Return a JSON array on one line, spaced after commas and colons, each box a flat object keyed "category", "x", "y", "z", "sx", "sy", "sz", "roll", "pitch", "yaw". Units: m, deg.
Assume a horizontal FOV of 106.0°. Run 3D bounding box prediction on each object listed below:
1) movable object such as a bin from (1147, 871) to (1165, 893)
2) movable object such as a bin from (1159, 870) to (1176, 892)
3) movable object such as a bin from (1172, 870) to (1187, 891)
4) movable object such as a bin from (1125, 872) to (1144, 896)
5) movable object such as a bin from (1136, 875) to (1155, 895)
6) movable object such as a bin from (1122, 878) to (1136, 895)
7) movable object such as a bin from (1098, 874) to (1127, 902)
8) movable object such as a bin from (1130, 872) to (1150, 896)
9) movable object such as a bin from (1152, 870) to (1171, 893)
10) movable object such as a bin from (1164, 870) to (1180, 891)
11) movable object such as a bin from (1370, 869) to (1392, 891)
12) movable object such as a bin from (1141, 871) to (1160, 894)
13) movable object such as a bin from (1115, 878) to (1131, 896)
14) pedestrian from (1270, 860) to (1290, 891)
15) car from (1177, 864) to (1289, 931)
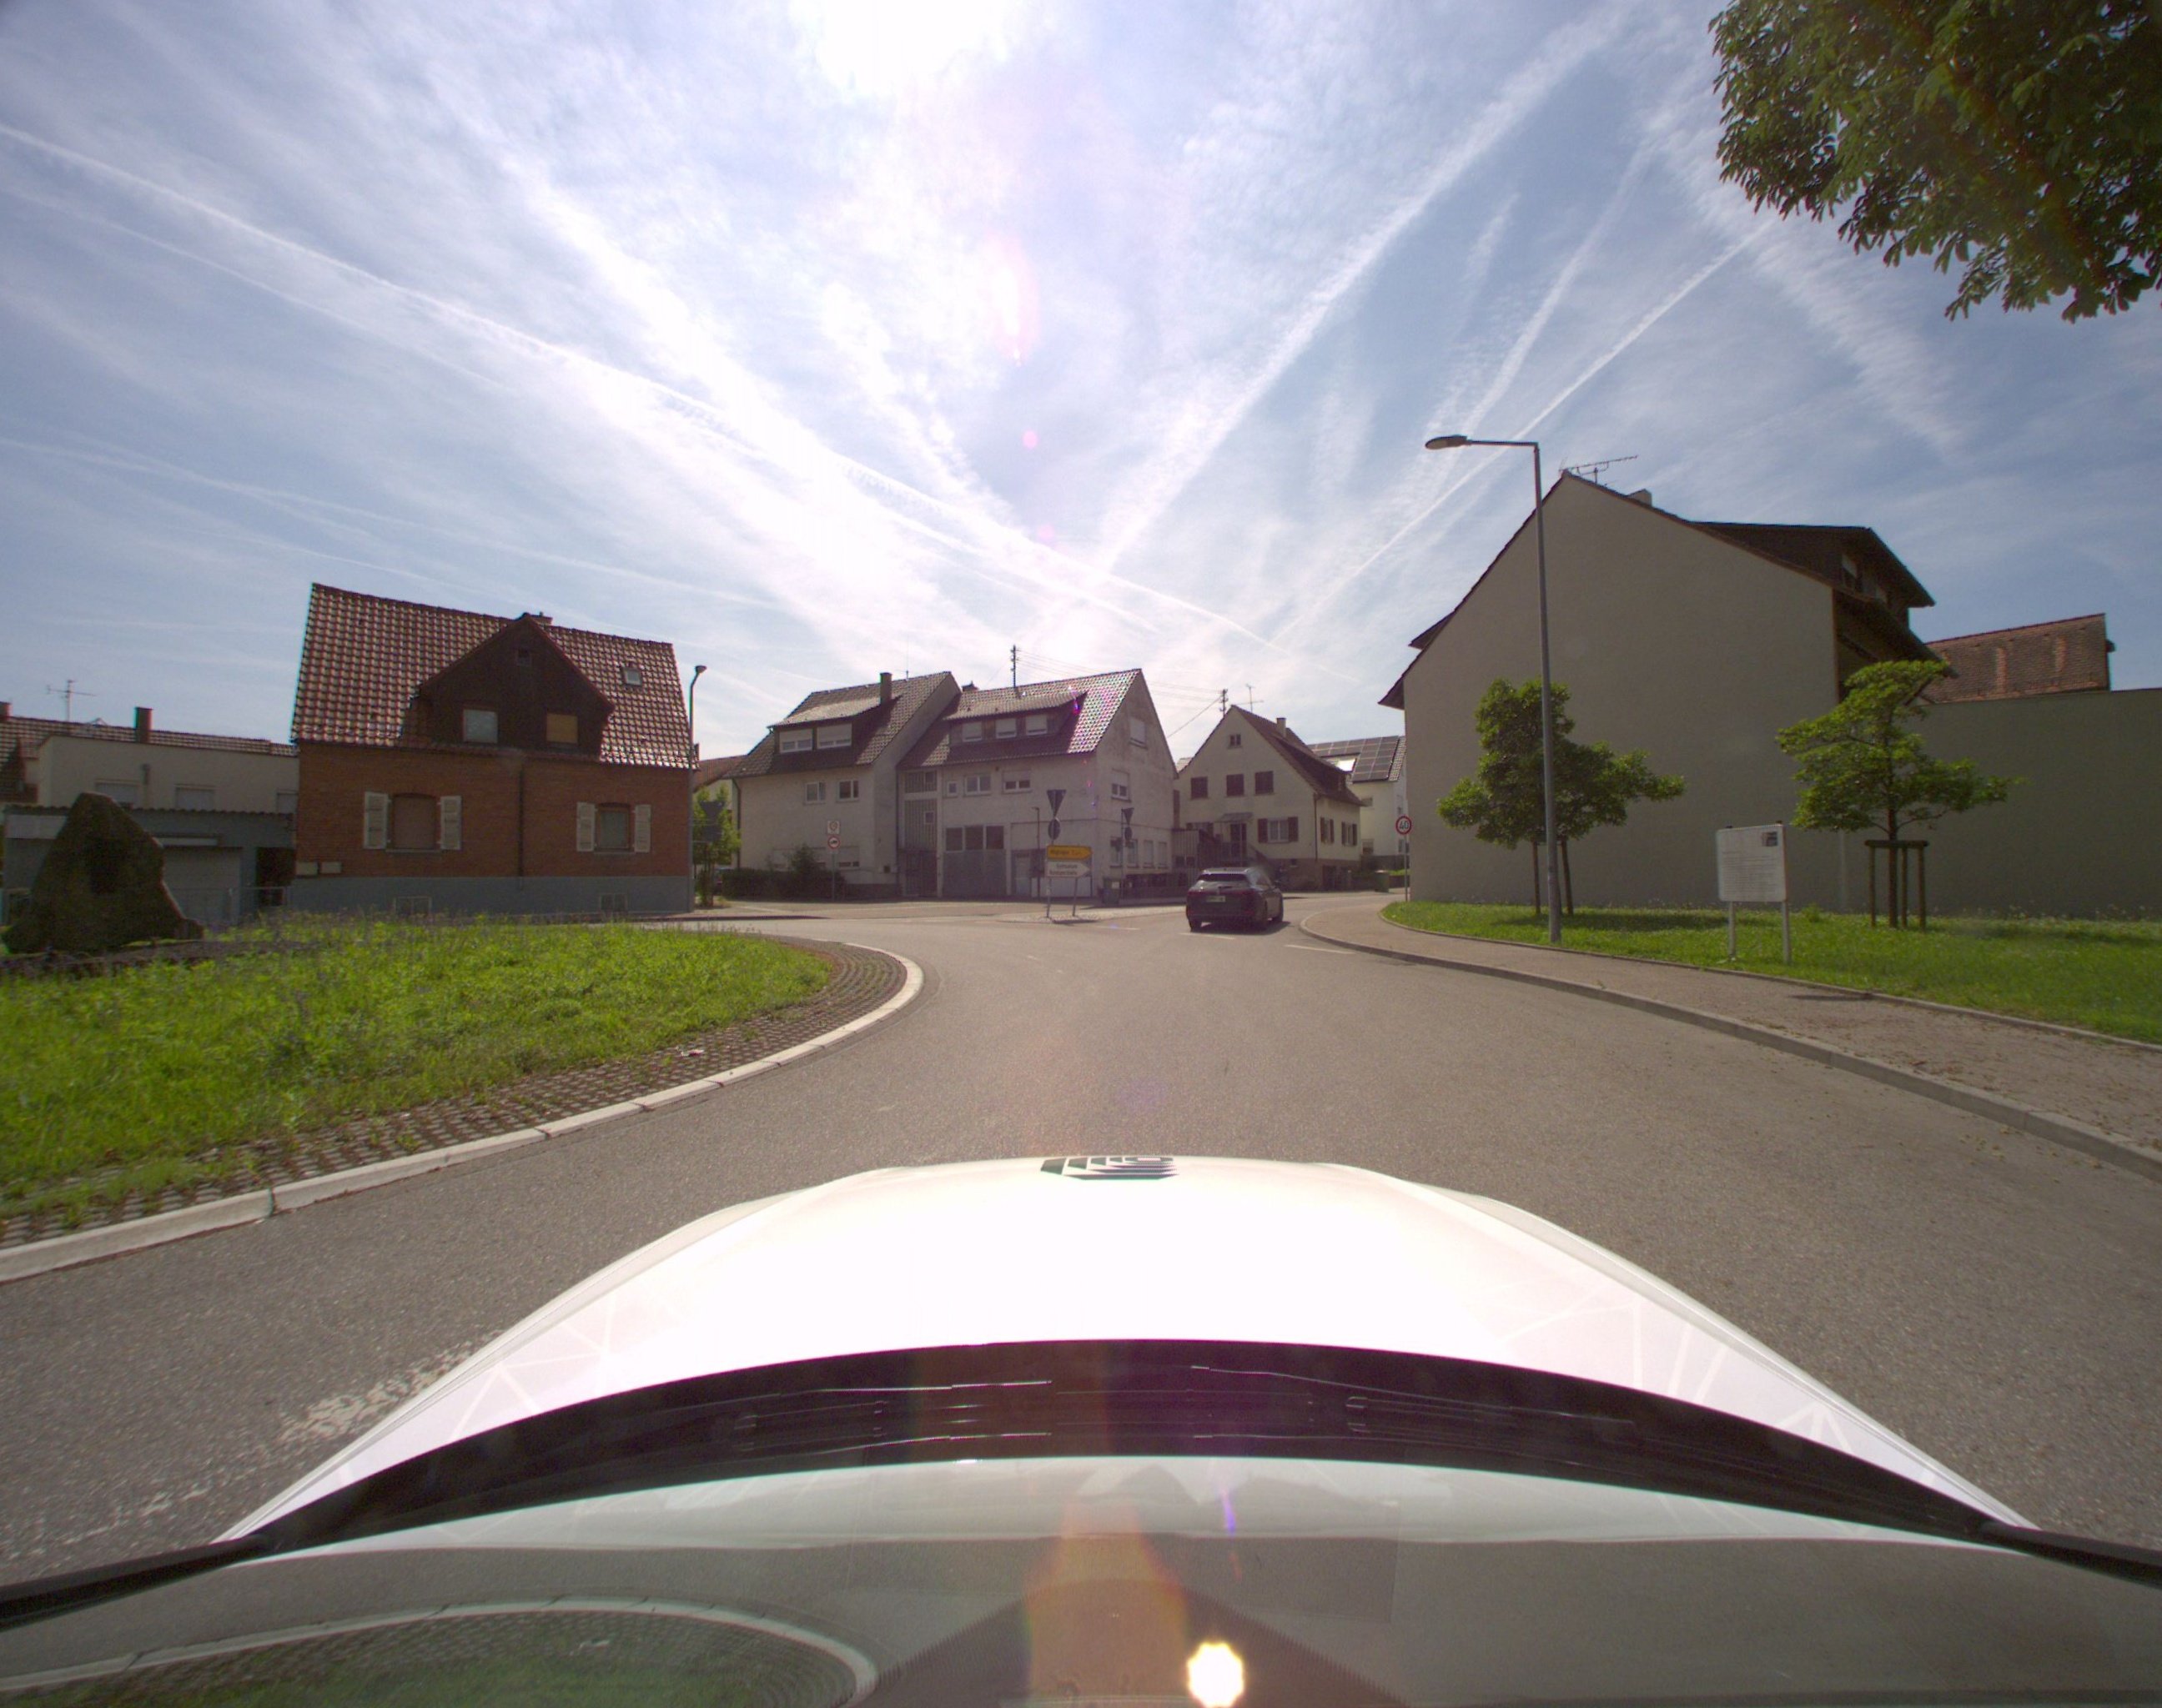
[{"category": "movable object such as a bin", "x": 3.663, "y": 1.357, "z": 39.752, "sx": 0.676, "sy": 1.082, "sz": 0.629, "roll": -1, "pitch": -1, "yaw": 25}, {"category": "movable object such as a bin", "x": 4.339, "y": 1.370, "z": 40.897, "sx": 0.672, "sy": 1.082, "sz": 0.587, "roll": -1, "pitch": -1, "yaw": 25}, {"category": "movable object such as a bin", "x": 5.088, "y": 1.373, "z": 42.024, "sx": 0.623, "sy": 1.034, "sz": 0.616, "roll": -1, "pitch": -1, "yaw": 25}, {"category": "movable object such as a bin", "x": 2.465, "y": 1.379, "z": 37.315, "sx": 0.676, "sy": 1.086, "sz": 0.648, "roll": -1, "pitch": -1, "yaw": 25}, {"category": "movable object such as a bin", "x": 3.056, "y": 1.474, "z": 38.597, "sx": 0.676, "sy": 0.896, "sz": 0.702, "roll": -1, "pitch": -1, "yaw": 25}, {"category": "movable object such as a bin", "x": 2.168, "y": 1.467, "z": 36.721, "sx": 0.480, "sy": 0.780, "sz": 0.530, "roll": -1, "pitch": -1, "yaw": 25}, {"category": "movable object such as a bin", "x": 1.221, "y": 1.297, "z": 31.508, "sx": 0.829, "sy": 1.045, "sz": 0.804, "roll": -1, "pitch": -1, "yaw": -28}, {"category": "movable object such as a bin", "x": 2.756, "y": 1.388, "z": 37.947, "sx": 0.676, "sy": 1.086, "sz": 0.702, "roll": -1, "pitch": -1, "yaw": 25}, {"category": "movable object such as a bin", "x": 4.005, "y": 1.363, "z": 40.323, "sx": 0.732, "sy": 1.082, "sz": 0.664, "roll": -1, "pitch": -1, "yaw": 25}, {"category": "movable object such as a bin", "x": 4.628, "y": 1.362, "z": 41.437, "sx": 0.621, "sy": 1.035, "sz": 0.607, "roll": -1, "pitch": -1, "yaw": 25}, {"category": "movable object such as a bin", "x": 15.043, "y": 1.297, "z": 40.816, "sx": 0.654, "sy": 1.057, "sz": 0.784, "roll": 0, "pitch": -2, "yaw": -42}, {"category": "movable object such as a bin", "x": 3.356, "y": 1.364, "z": 39.250, "sx": 0.676, "sy": 1.082, "sz": 0.702, "roll": -1, "pitch": -1, "yaw": 25}, {"category": "movable object such as a bin", "x": 1.872, "y": 1.459, "z": 36.137, "sx": 0.480, "sy": 0.805, "sz": 0.650, "roll": -1, "pitch": -1, "yaw": 27}, {"category": "pedestrian", "x": 10.452, "y": 1.130, "z": 42.727, "sx": 0.769, "sy": 1.574, "sz": 0.631, "roll": -2, "pitch": -1, "yaw": 43}, {"category": "car", "x": 3.919, "y": 0.991, "z": 20.289, "sx": 1.825, "sy": 1.420, "sz": 4.707, "roll": -1, "pitch": -1, "yaw": 22}]
